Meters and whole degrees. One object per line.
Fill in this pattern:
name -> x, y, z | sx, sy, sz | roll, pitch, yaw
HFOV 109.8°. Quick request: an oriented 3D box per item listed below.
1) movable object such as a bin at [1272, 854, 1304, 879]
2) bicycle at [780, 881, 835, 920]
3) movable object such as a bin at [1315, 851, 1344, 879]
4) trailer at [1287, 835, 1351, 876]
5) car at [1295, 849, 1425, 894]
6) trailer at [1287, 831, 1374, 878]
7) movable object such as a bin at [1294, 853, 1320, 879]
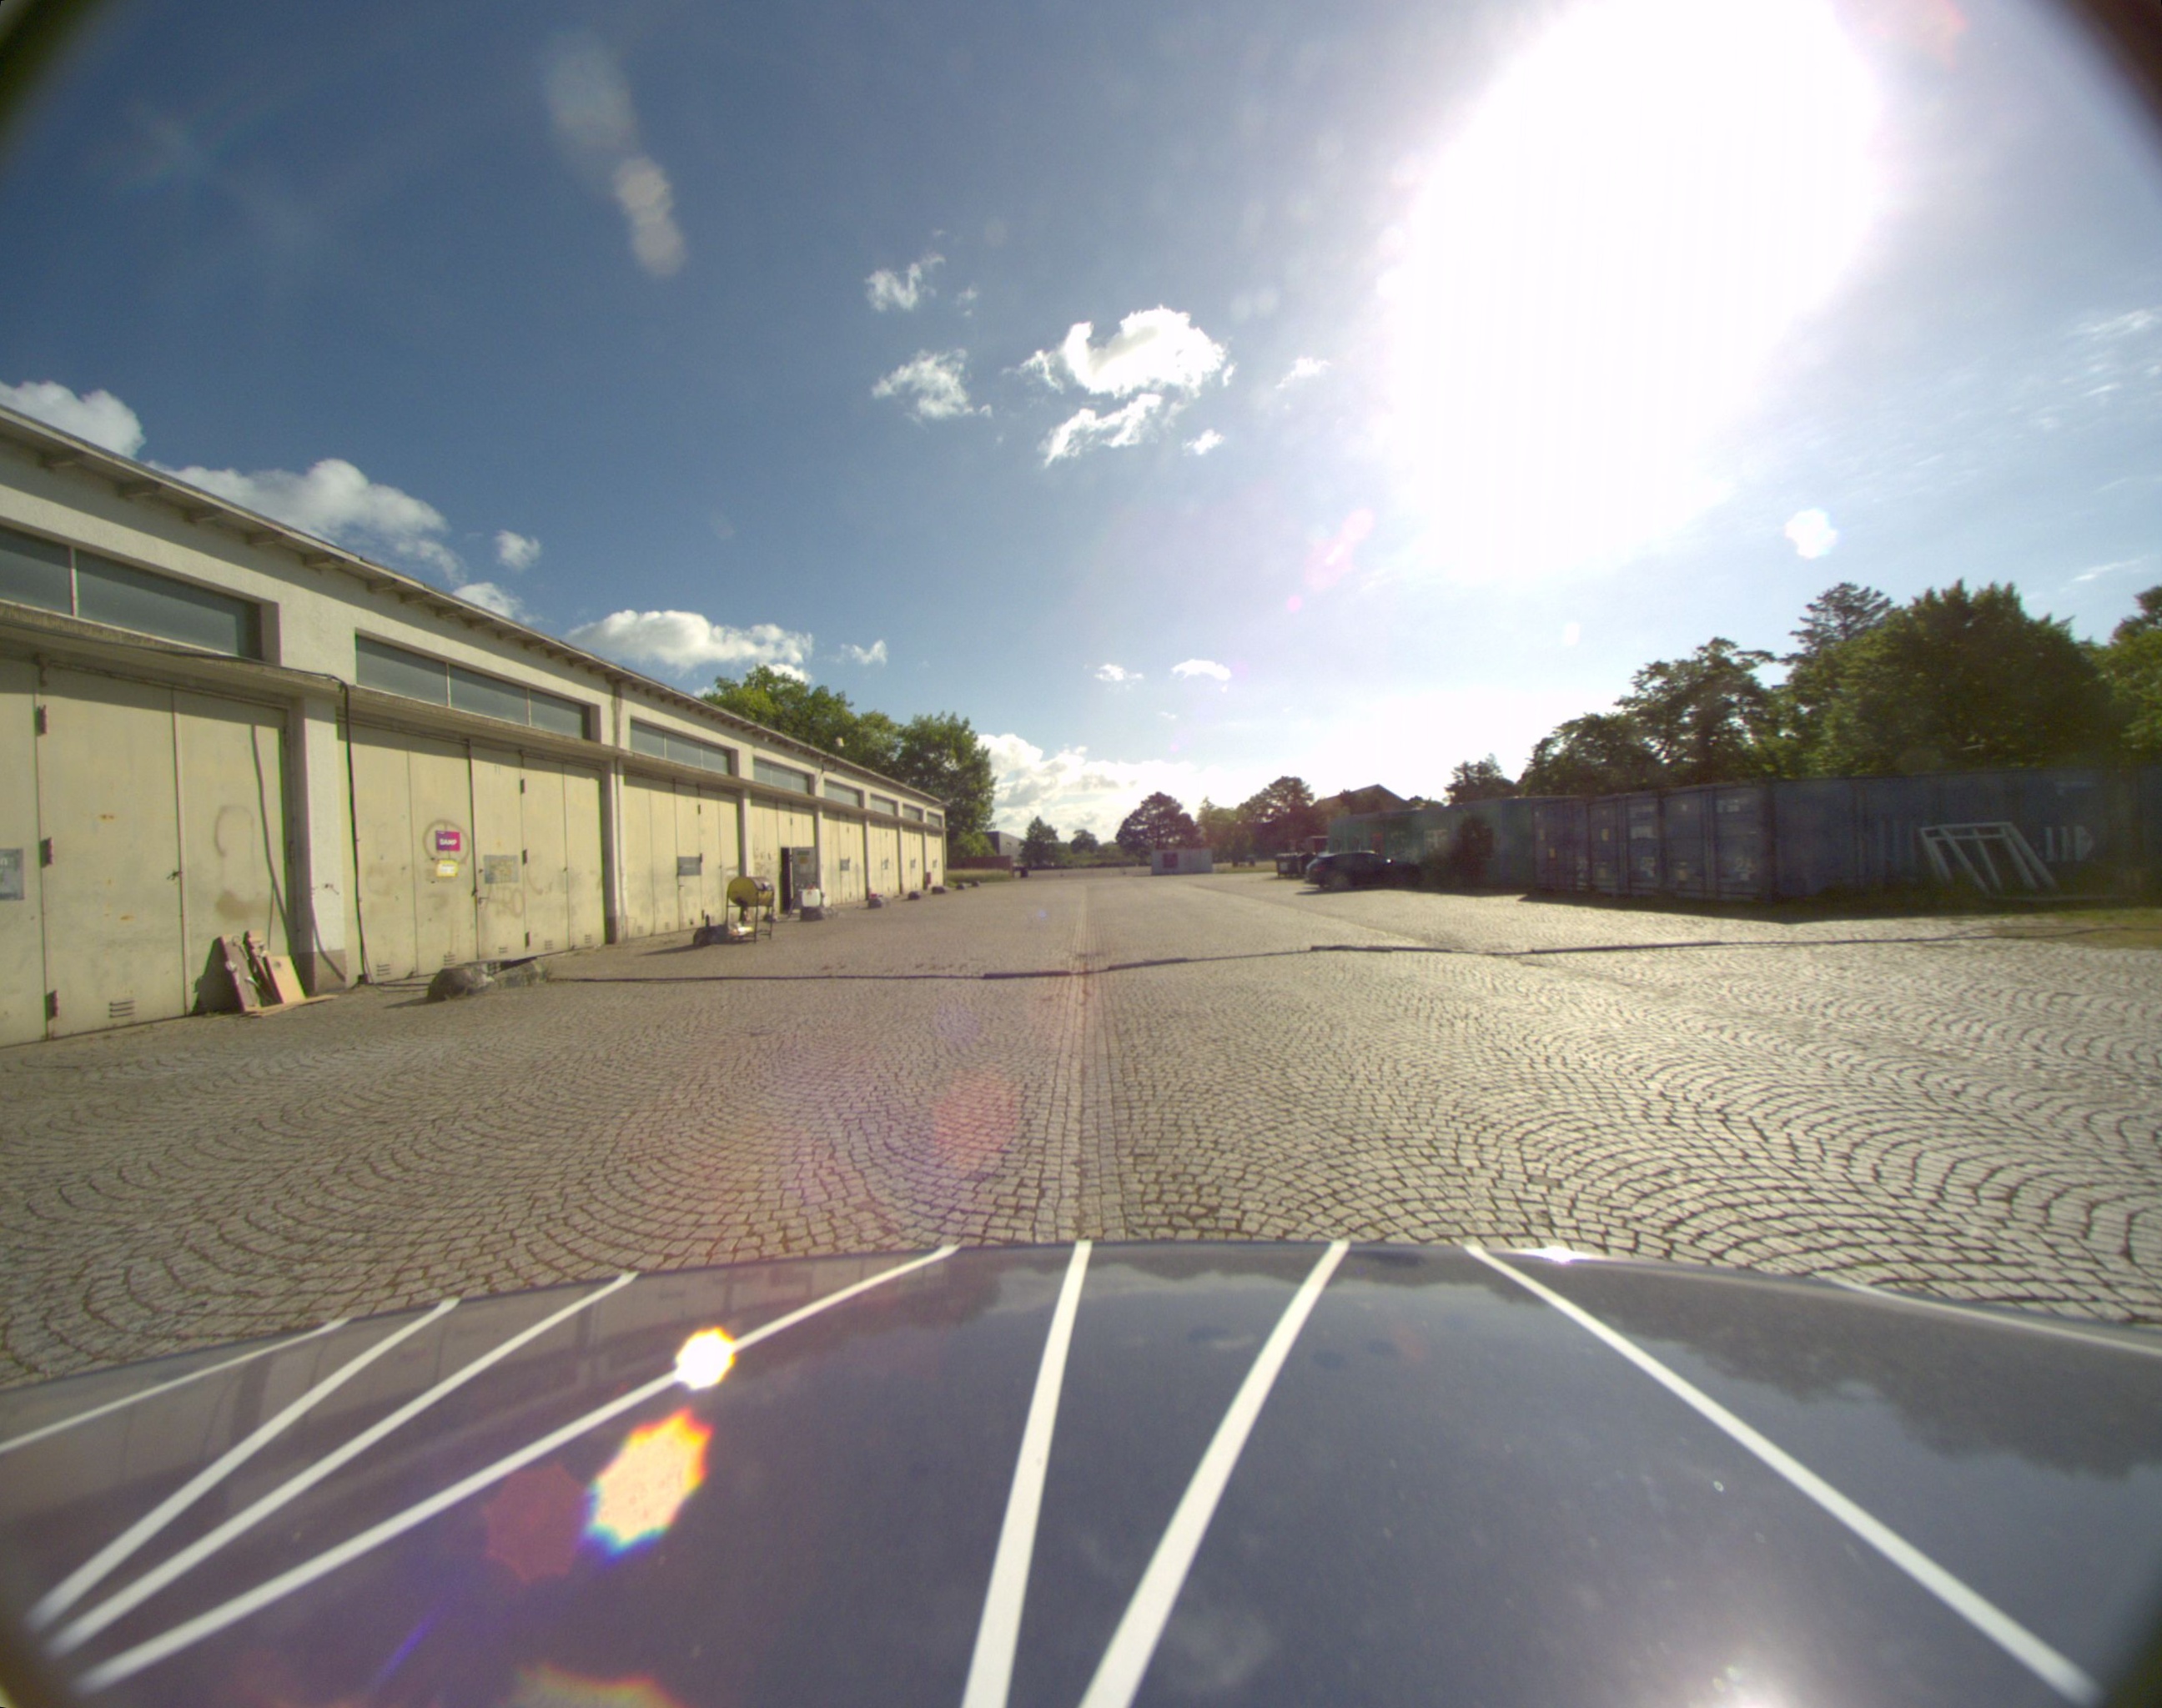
movable object such as a bin -> 12.515, 0.753, 45.890 | 1.435, 1.449, 1.158 | -3, 1, 43
bicycle -> -8.463, 1.422, 23.602 | 0.665, 1.062, 1.825 | -3, 1, 13
movable object such as a bin -> 13.738, 0.603, 42.093 | 0.885, 1.449, 1.439 | -3, 1, -10
trailer -> 15.448, 0.080, 49.474 | 3.393, 2.455, 2.044 | -3, 1, 1
car -> 10.768, 0.647, 29.509 | 4.263, 1.441, 1.931 | -3, 1, -2
trailer -> 15.406, 0.031, 47.023 | 4.649, 2.553, 1.951 | -3, 1, -4
movable object such as a bin -> 12.997, 0.681, 43.776 | 1.020, 1.449, 1.440 | -3, 1, 0
